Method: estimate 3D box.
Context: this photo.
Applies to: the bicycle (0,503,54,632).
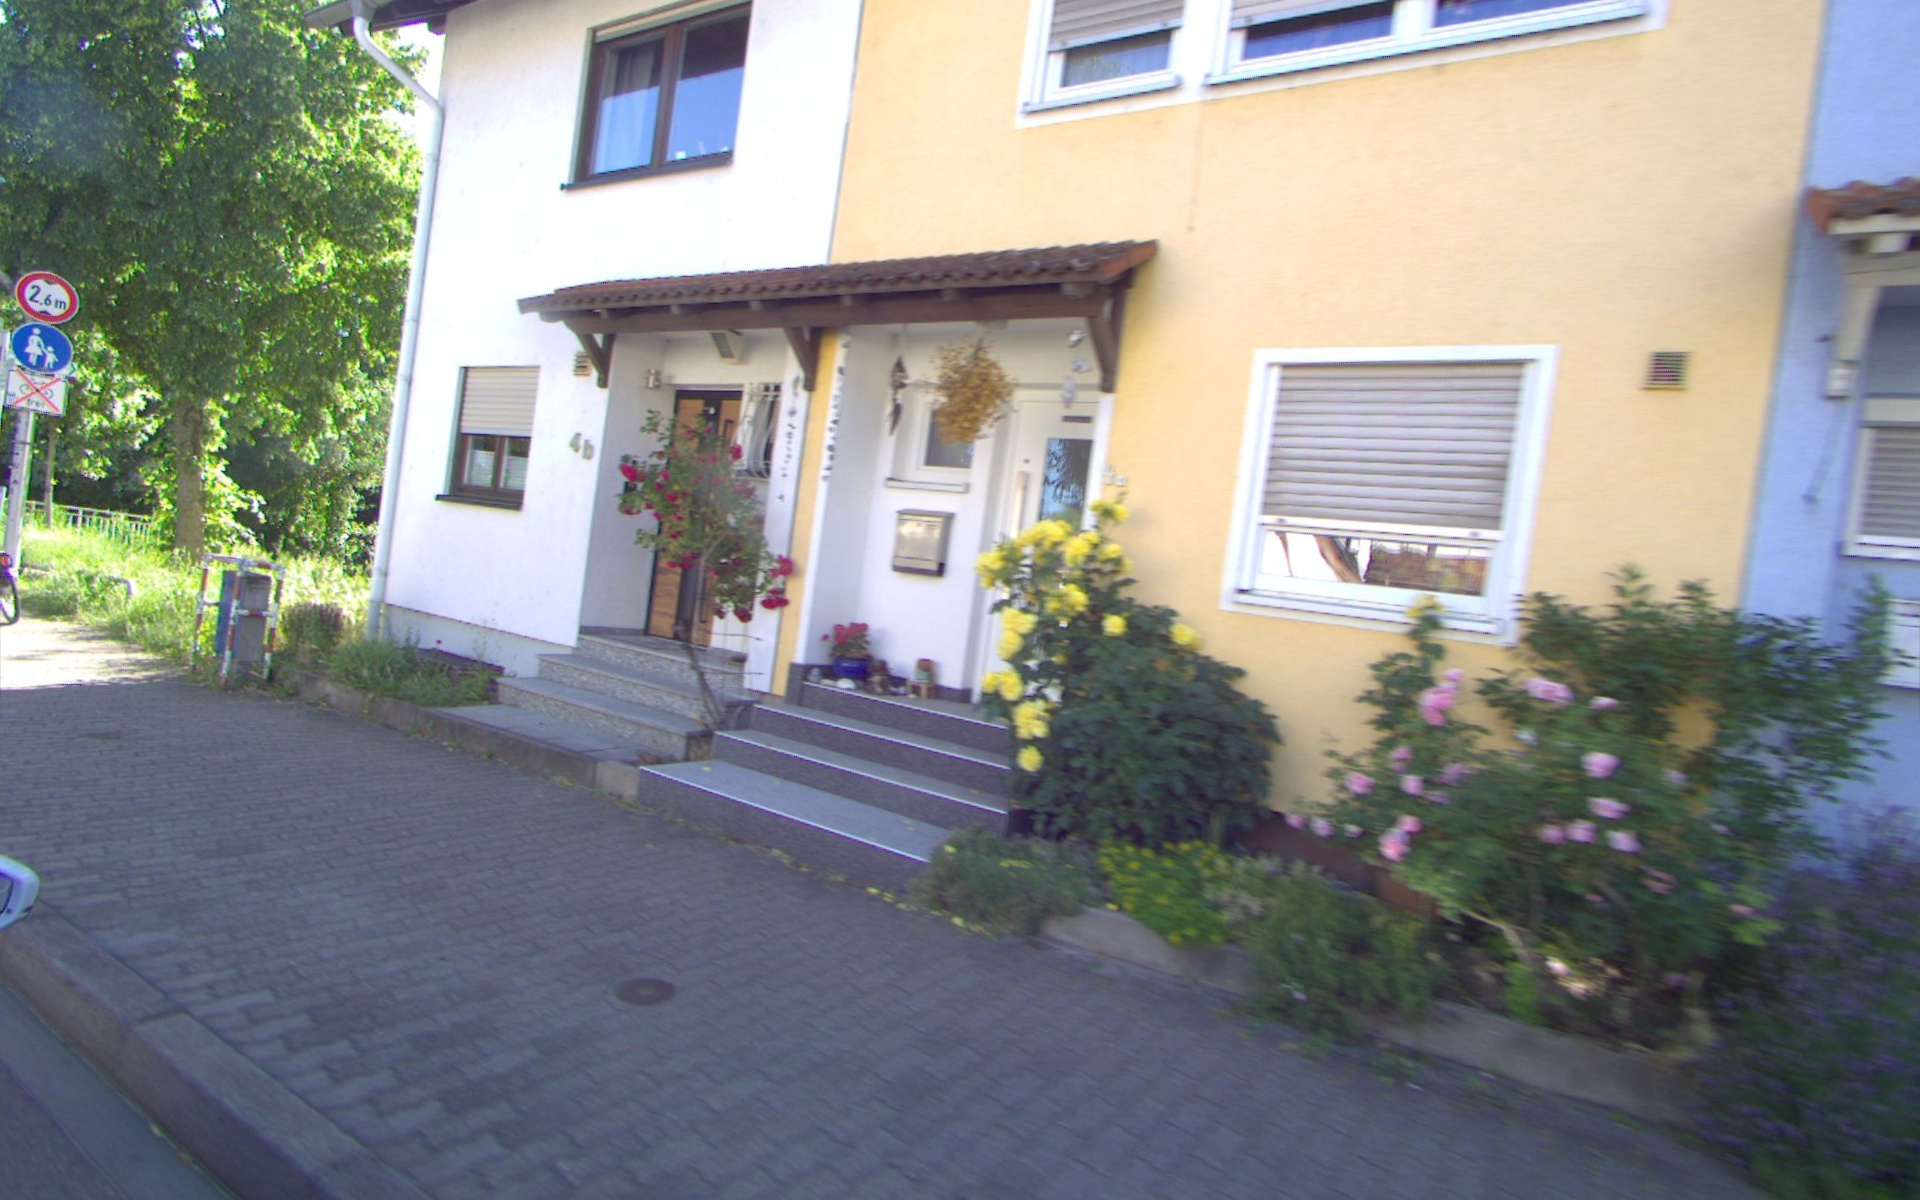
[{"bbox_3d":[-9.725,-0.361,9.989,1.514,1.174,0.688,7,5,32],"label":"bicycle"}]
